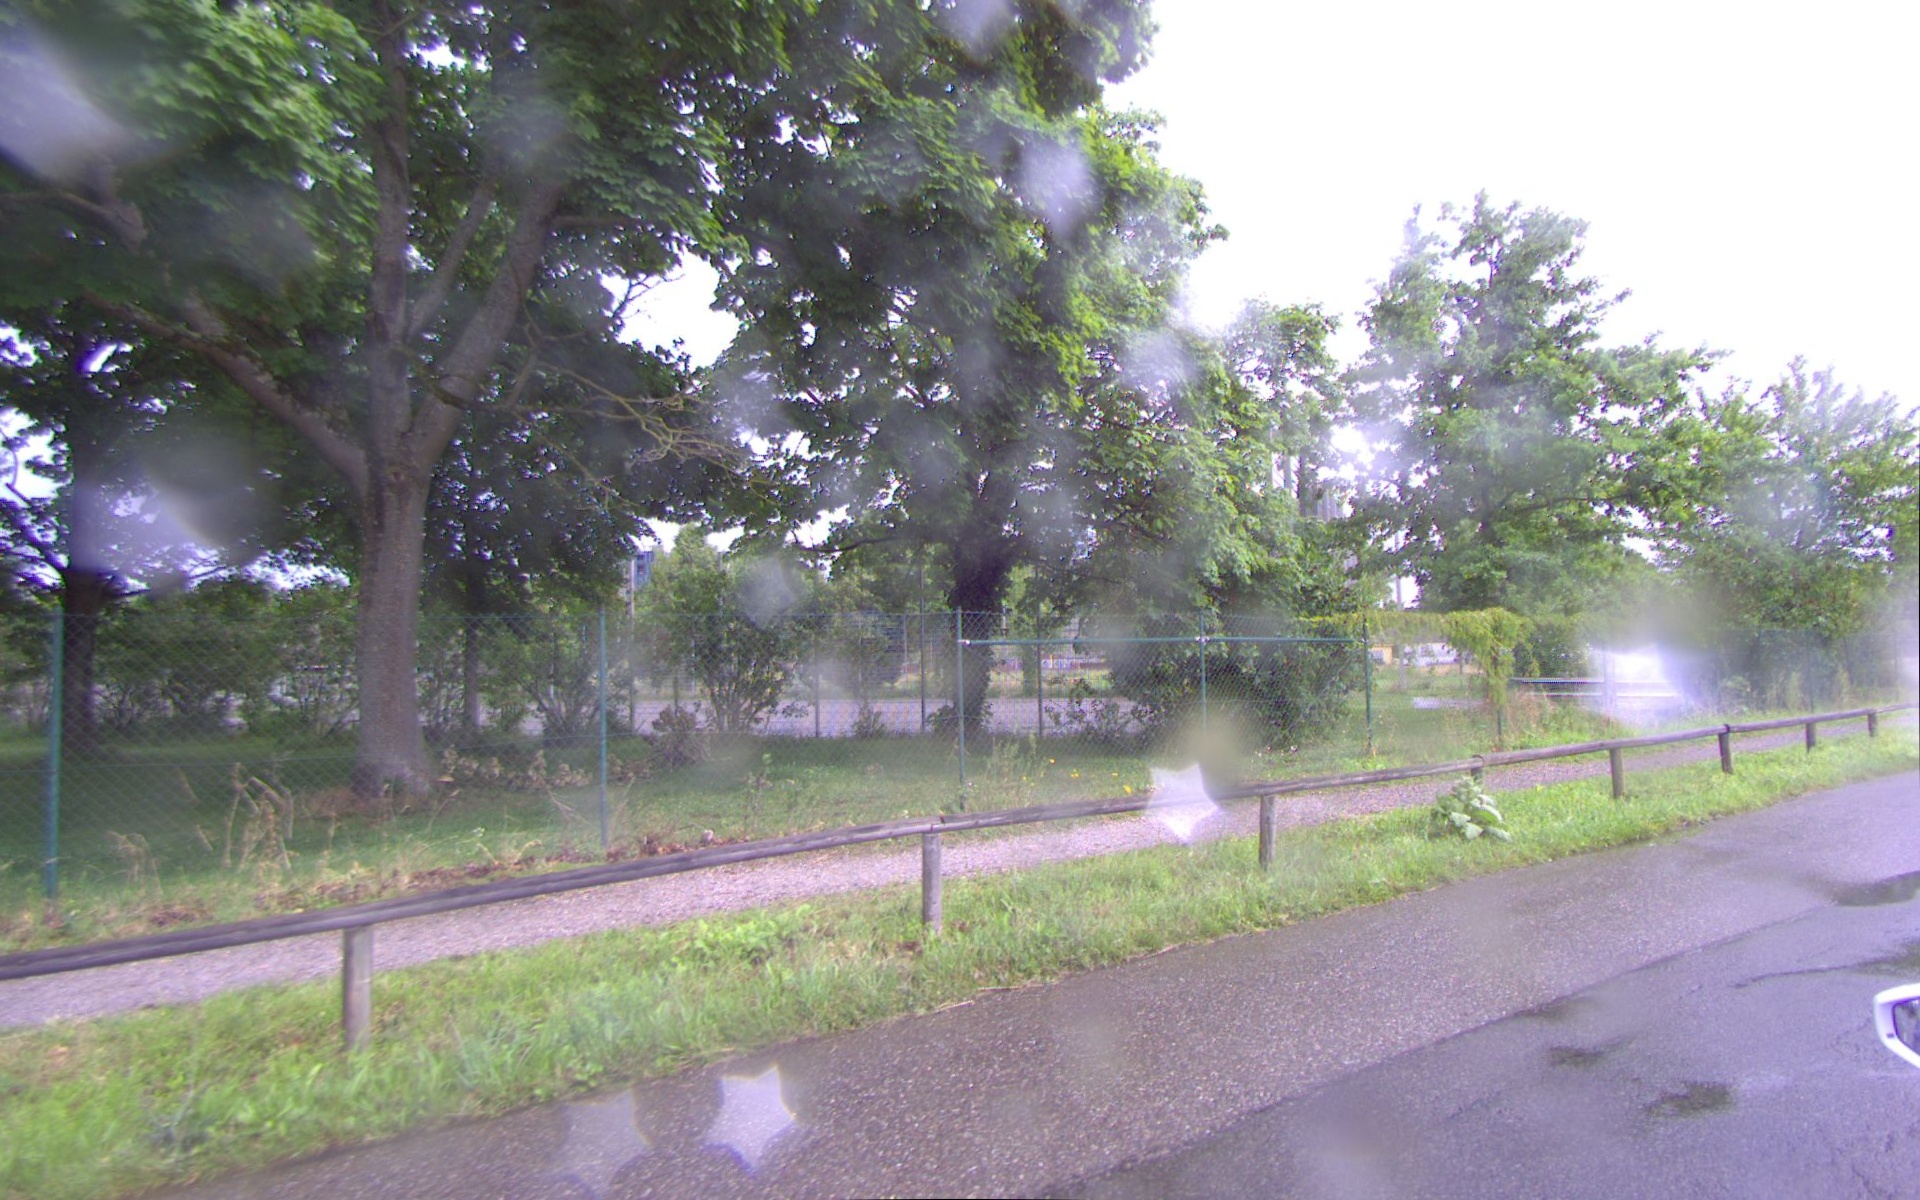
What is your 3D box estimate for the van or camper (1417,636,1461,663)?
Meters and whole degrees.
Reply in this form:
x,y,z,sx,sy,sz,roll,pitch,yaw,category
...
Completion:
x,y,z,sx,sy,sz,roll,pitch,yaw,category
55.821,5.739,117.094,4.433,2.983,2.482,-3,-4,26,van or camper
